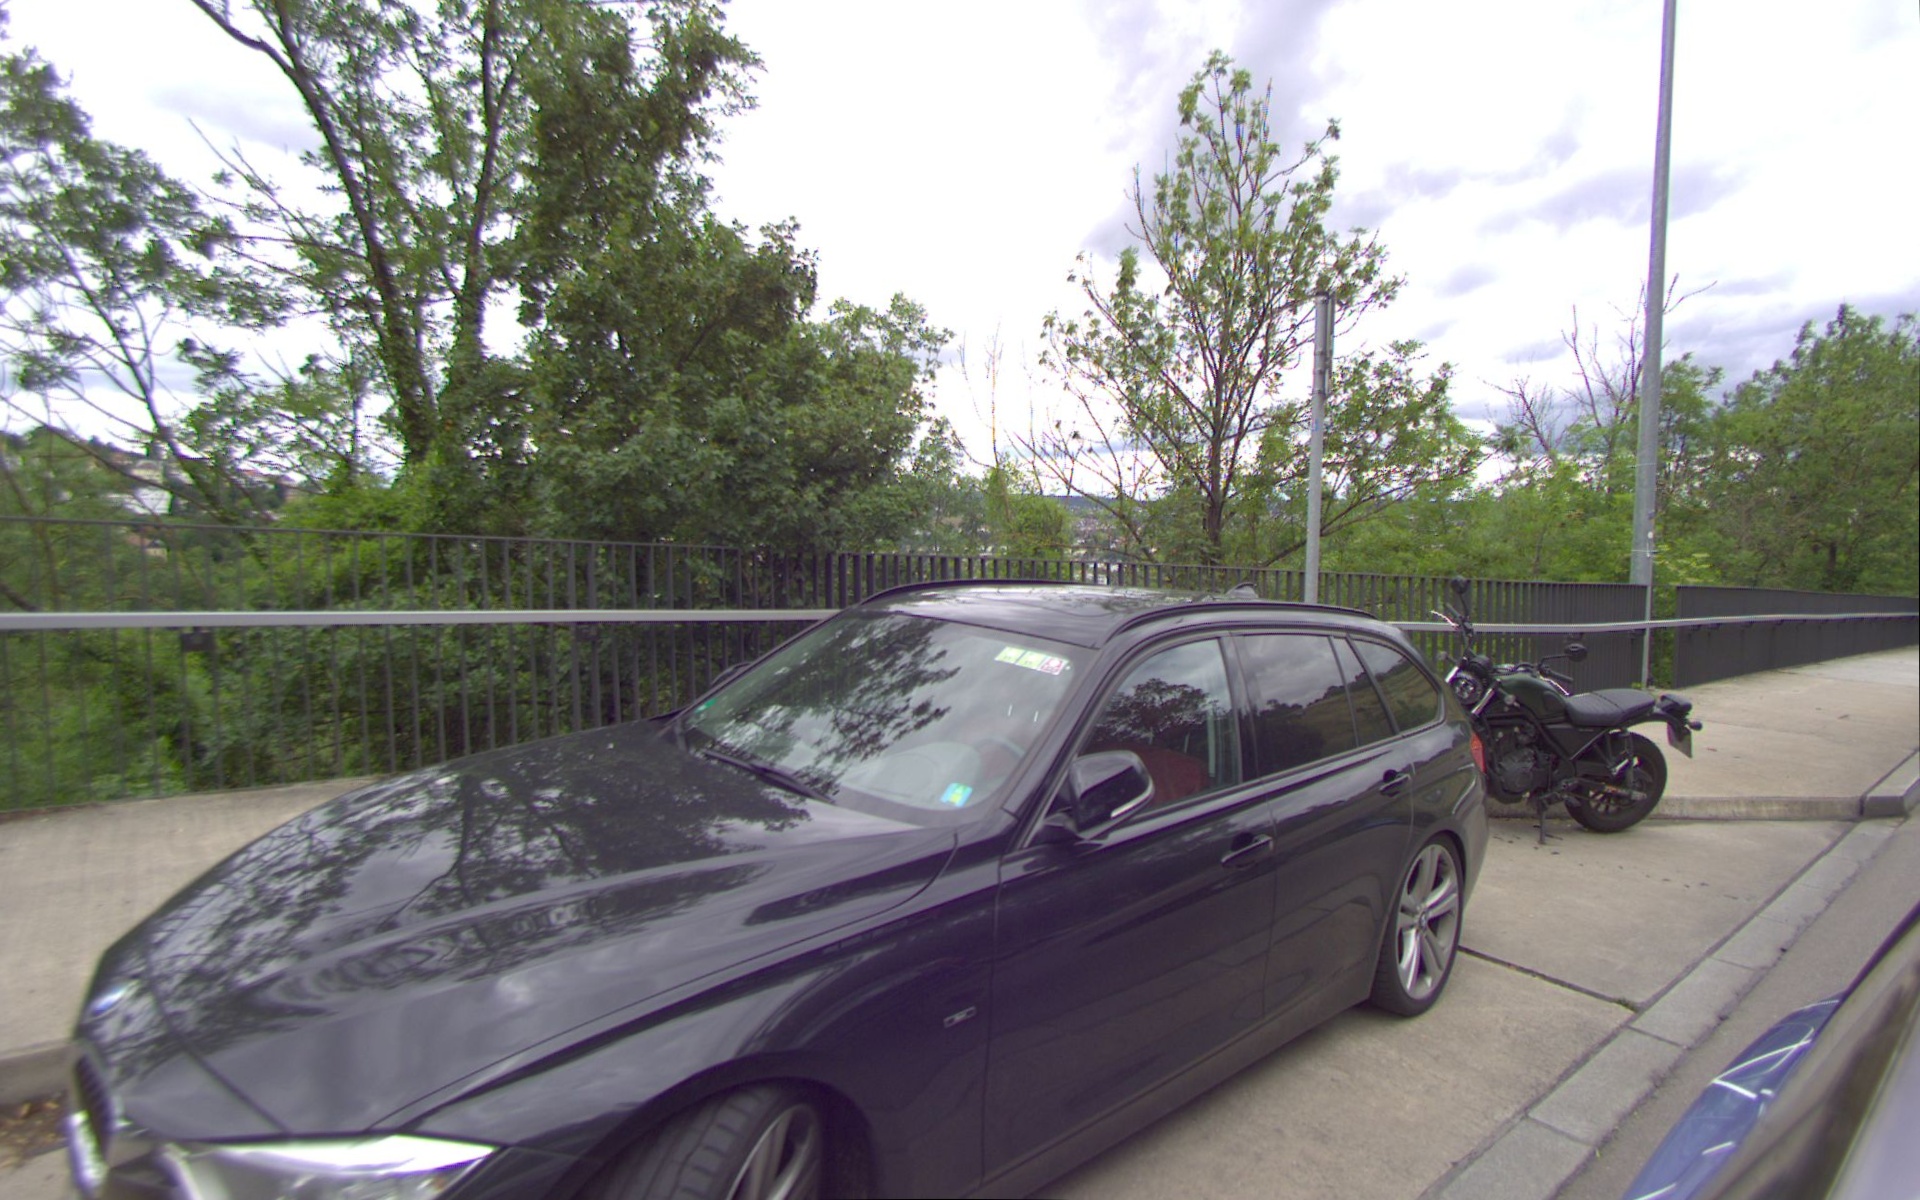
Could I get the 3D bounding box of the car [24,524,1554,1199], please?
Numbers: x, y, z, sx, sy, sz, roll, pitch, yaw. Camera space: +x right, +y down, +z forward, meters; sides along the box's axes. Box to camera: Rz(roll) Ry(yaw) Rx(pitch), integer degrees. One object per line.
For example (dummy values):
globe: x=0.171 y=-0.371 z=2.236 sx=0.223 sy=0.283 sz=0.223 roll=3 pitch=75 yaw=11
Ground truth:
car: x=0.035 y=0.602 z=3.127 sx=4.245 sy=1.417 sz=1.827 roll=0 pitch=5 yaw=-42

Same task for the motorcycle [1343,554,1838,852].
motorcycle: x=3.490 y=0.520 z=5.660 sx=2.452 sy=1.486 sz=0.774 roll=1 pitch=1 yaw=-12
